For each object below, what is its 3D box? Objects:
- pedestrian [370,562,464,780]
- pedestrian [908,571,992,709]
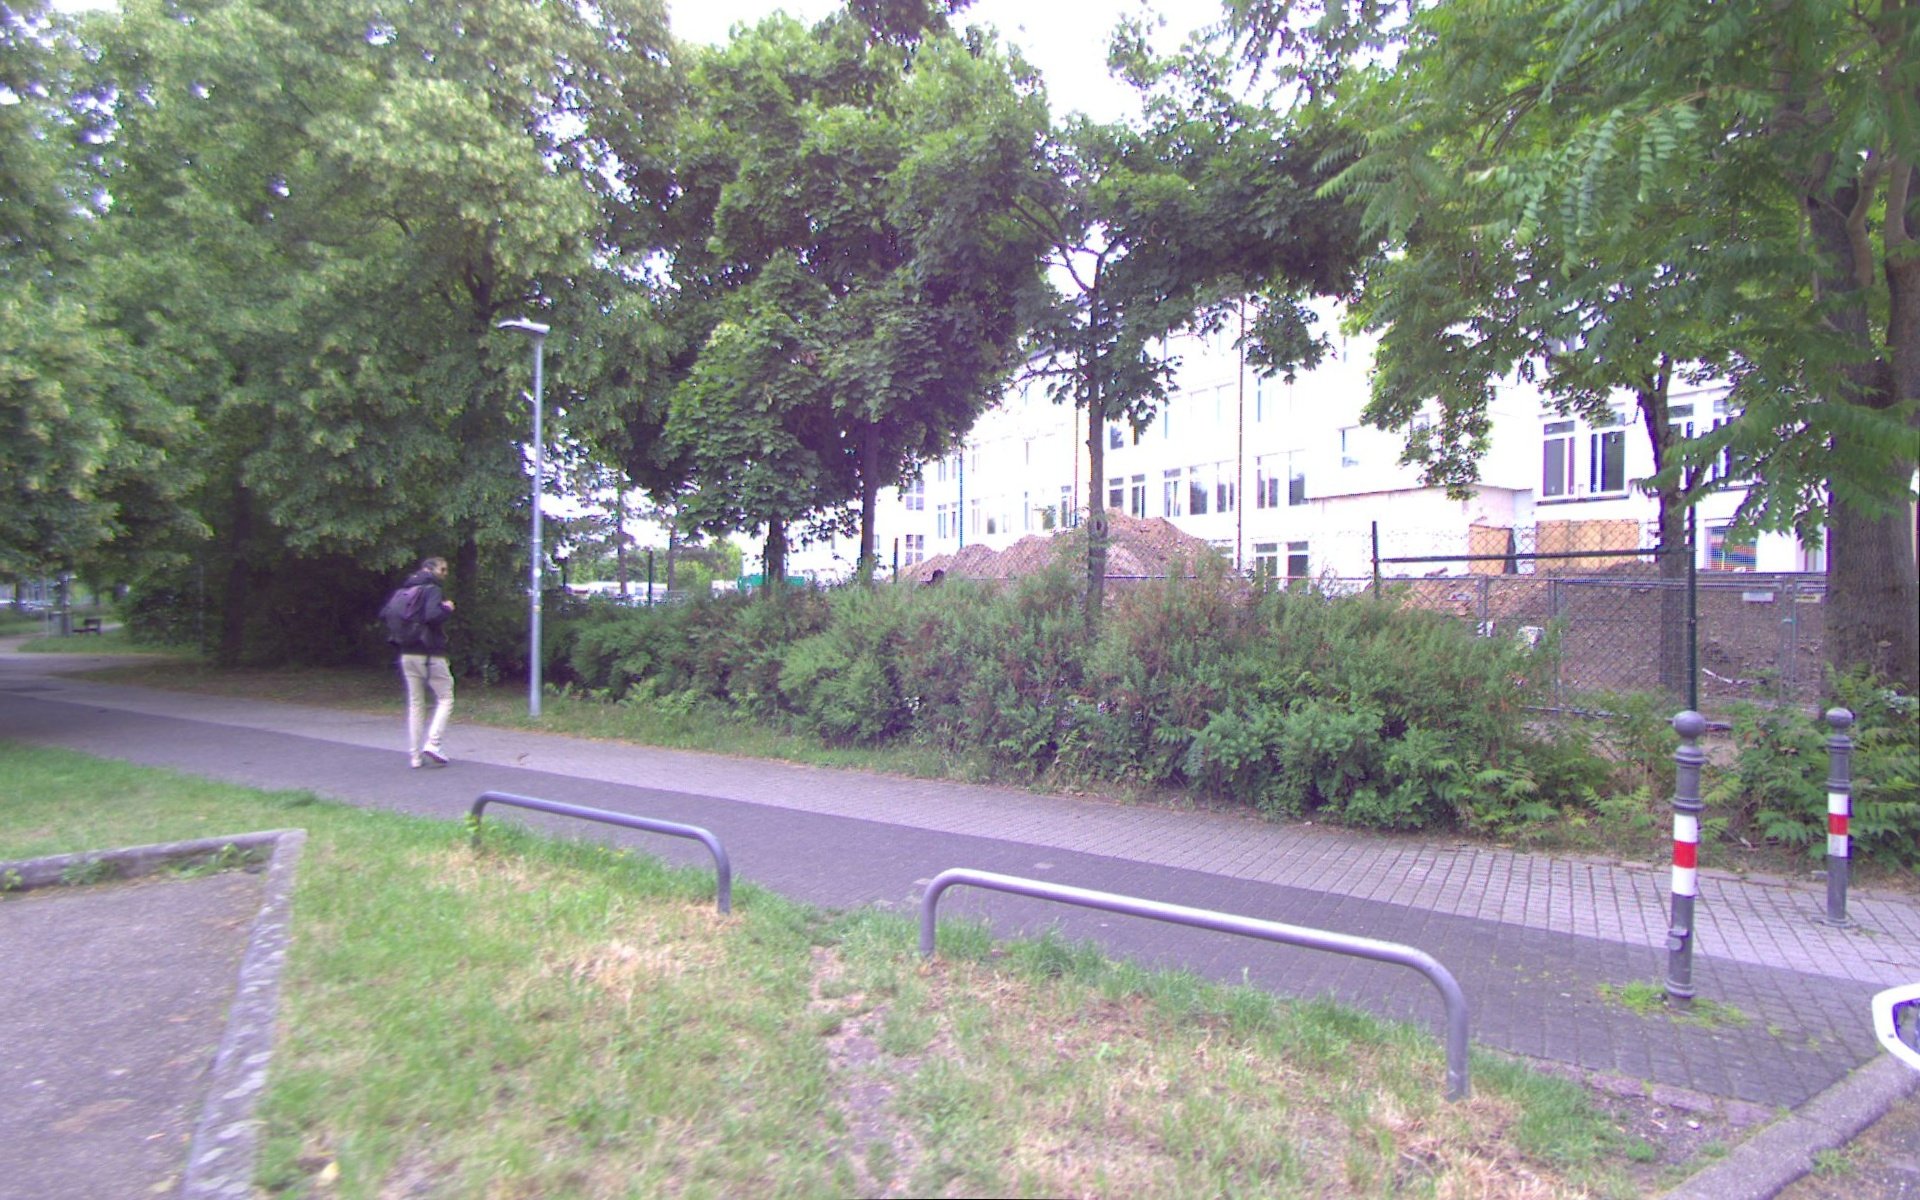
[{"bbox_3d":[-4.643,0.580,8.610,0.673,1.773,0.616,1,0,-29],"label":"pedestrian"},{"bbox_3d":[-0.169,0.615,16.032,0.787,2.092,1.188,1,0,-36],"label":"pedestrian"}]
